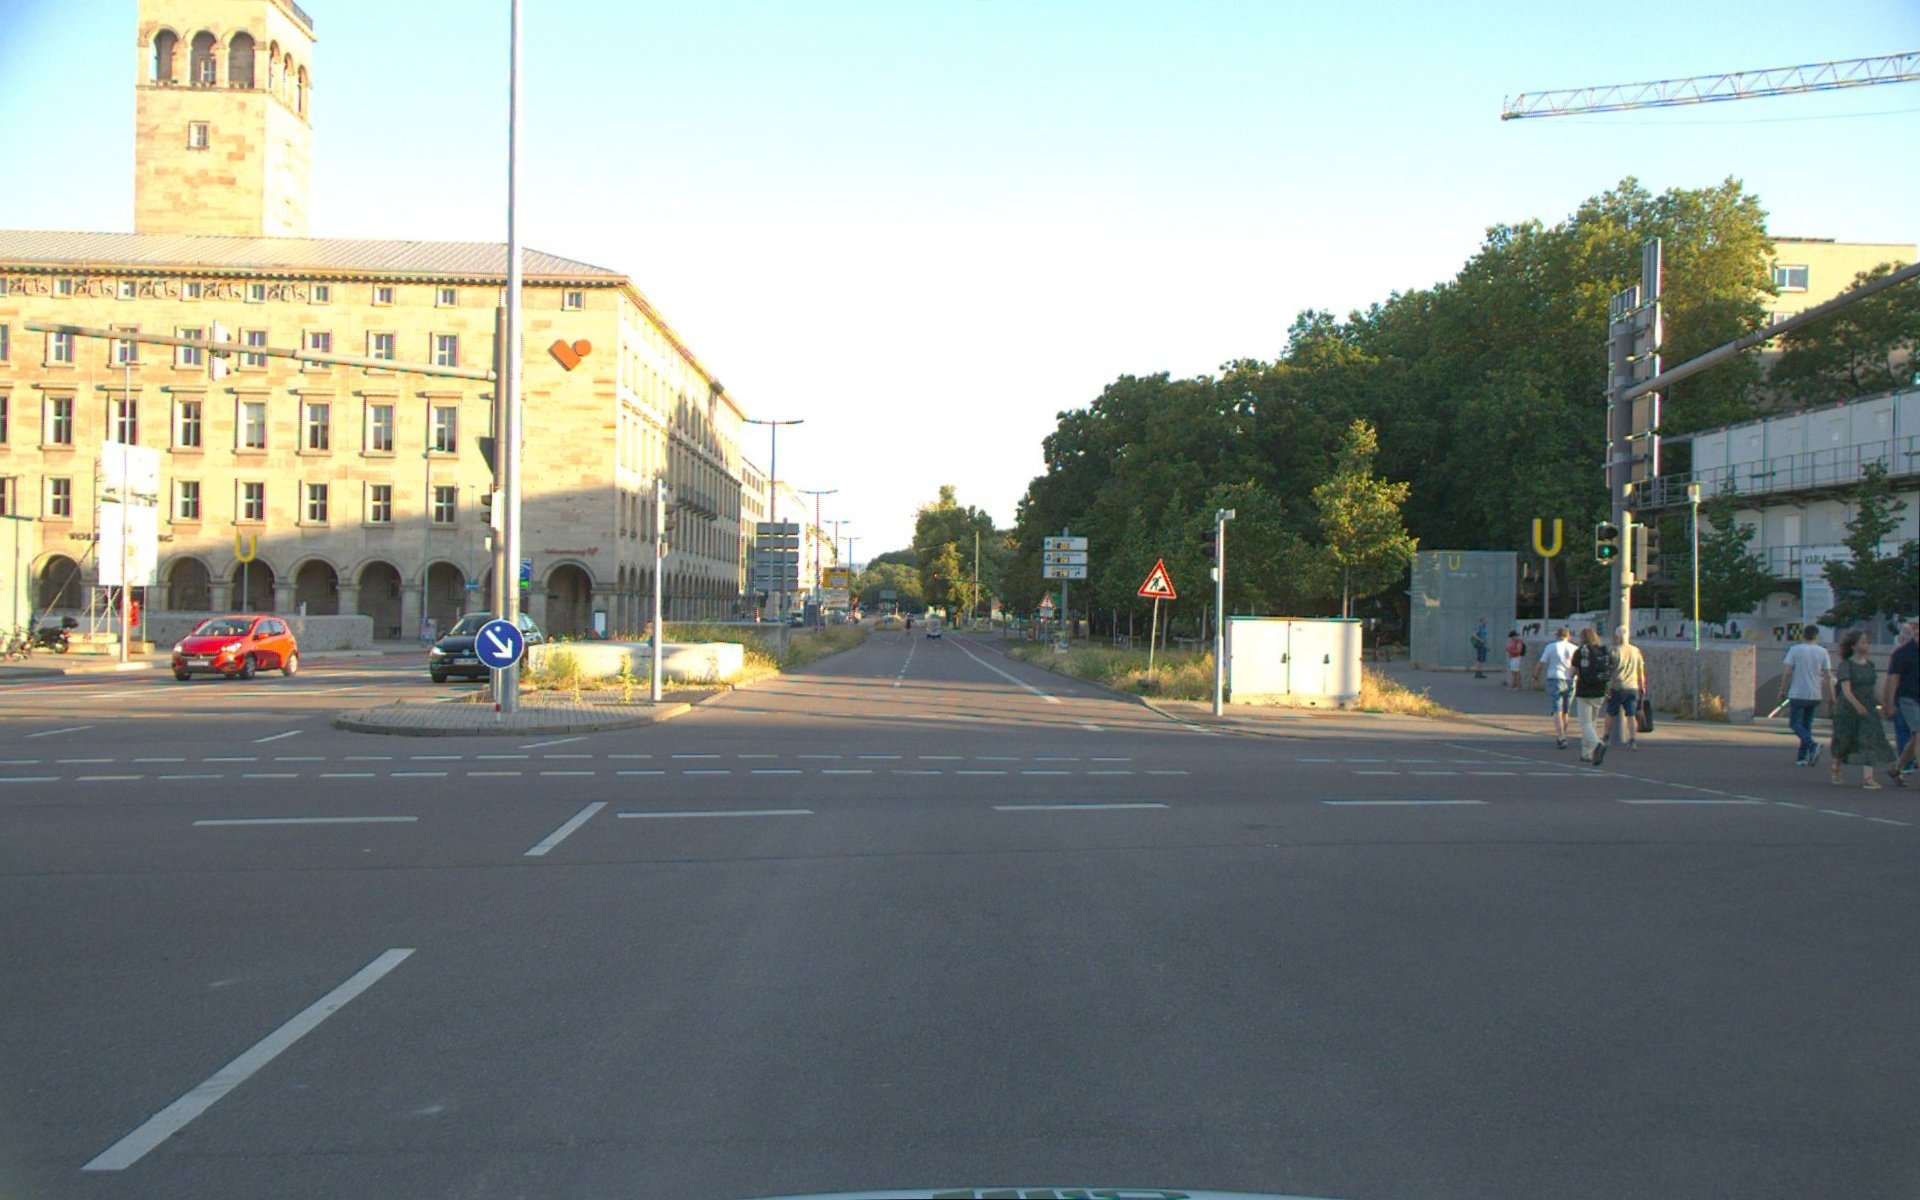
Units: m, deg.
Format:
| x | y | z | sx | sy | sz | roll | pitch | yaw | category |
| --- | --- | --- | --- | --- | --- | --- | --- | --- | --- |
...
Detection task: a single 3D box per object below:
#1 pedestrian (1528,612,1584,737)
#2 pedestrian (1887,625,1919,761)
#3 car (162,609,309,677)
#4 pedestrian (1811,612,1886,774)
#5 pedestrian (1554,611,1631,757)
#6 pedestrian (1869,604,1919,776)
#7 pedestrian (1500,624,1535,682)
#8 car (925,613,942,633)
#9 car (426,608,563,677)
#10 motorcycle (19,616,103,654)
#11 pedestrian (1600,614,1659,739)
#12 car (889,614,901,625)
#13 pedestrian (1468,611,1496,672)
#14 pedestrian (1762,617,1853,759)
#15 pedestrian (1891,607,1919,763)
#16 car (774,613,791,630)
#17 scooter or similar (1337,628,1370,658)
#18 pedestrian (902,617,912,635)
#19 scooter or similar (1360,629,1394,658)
| x | y | z | sx | sy | sz | roll | pitch | yaw | category |
| --- | --- | --- | --- | --- | --- | --- | --- | --- | --- |
| 8.572 | 1.056 | 23.814 | 0.696 | 1.755 | 0.669 | 1 | -1 | 15 | pedestrian |
| 12.322 | 1.182 | 21.237 | 0.560 | 1.708 | 0.639 | 1 | -1 | 12 | pedestrian |
| -17.083 | 0.975 | 39.221 | 1.703 | 1.513 | 4.000 | 1 | 0 | 0 | car |
| 9.518 | 0.974 | 17.737 | 0.548 | 1.684 | 0.902 | 0 | 0 | 18 | pedestrian |
| 7.824 | 1.020 | 20.502 | 0.695 | 1.755 | 0.915 | 1 | -1 | 8 | pedestrian |
| 10.144 | 0.940 | 17.606 | 0.665 | 1.788 | 0.902 | 0 | 0 | 18 | pedestrian |
| 14.528 | 1.373 | 43.075 | 0.653 | 1.475 | 0.713 | 1 | 0 | -1 | pedestrian |
| -2.307 | 2.058 | 146.096 | 1.453 | 1.725 | 2.973 | 0 | -1 | -1 | car |
| -9.894 | 0.865 | 35.473 | 1.785 | 1.365 | 4.000 | 1 | 0 | 0 | car |
| -29.696 | 1.167 | 54.667 | 2.266 | 1.217 | 0.824 | 1 | 0 | -9 | motorcycle |
| 9.567 | 1.079 | 23.664 | 0.696 | 1.755 | 0.669 | 0 | 0 | 15 | pedestrian |
| -7.772 | 2.316 | 198.017 | 1.342 | 1.256 | 3.045 | 1 | 0 | 0 | car |
| 16.085 | 1.278 | 50.989 | 0.652 | 1.875 | 0.713 | 1 | 0 | 3 | pedestrian |
| 10.756 | 1.099 | 21.006 | 0.696 | 1.755 | 0.915 | 1 | 0 | 2 | pedestrian |
| 11.433 | 0.993 | 19.566 | 0.560 | 1.823 | 0.639 | 1 | -1 | 12 | pedestrian |
| -17.464 | 2.086 | 163.099 | 1.525 | 1.618 | 3.997 | 1 | 0 | -4 | car |
| 16.921 | 1.827 | 71.145 | 0.558 | 1.224 | 2.982 | 1 | -1 | -3 | scooter or similar |
| -5.043 | 2.438 | 157.690 | 0.888 | 1.700 | 1.306 | 1 | 0 | -3 | pedestrian |
| 17.923 | 1.857 | 71.181 | 0.558 | 1.224 | 2.982 | 1 | -1 | -3 | scooter or similar |
